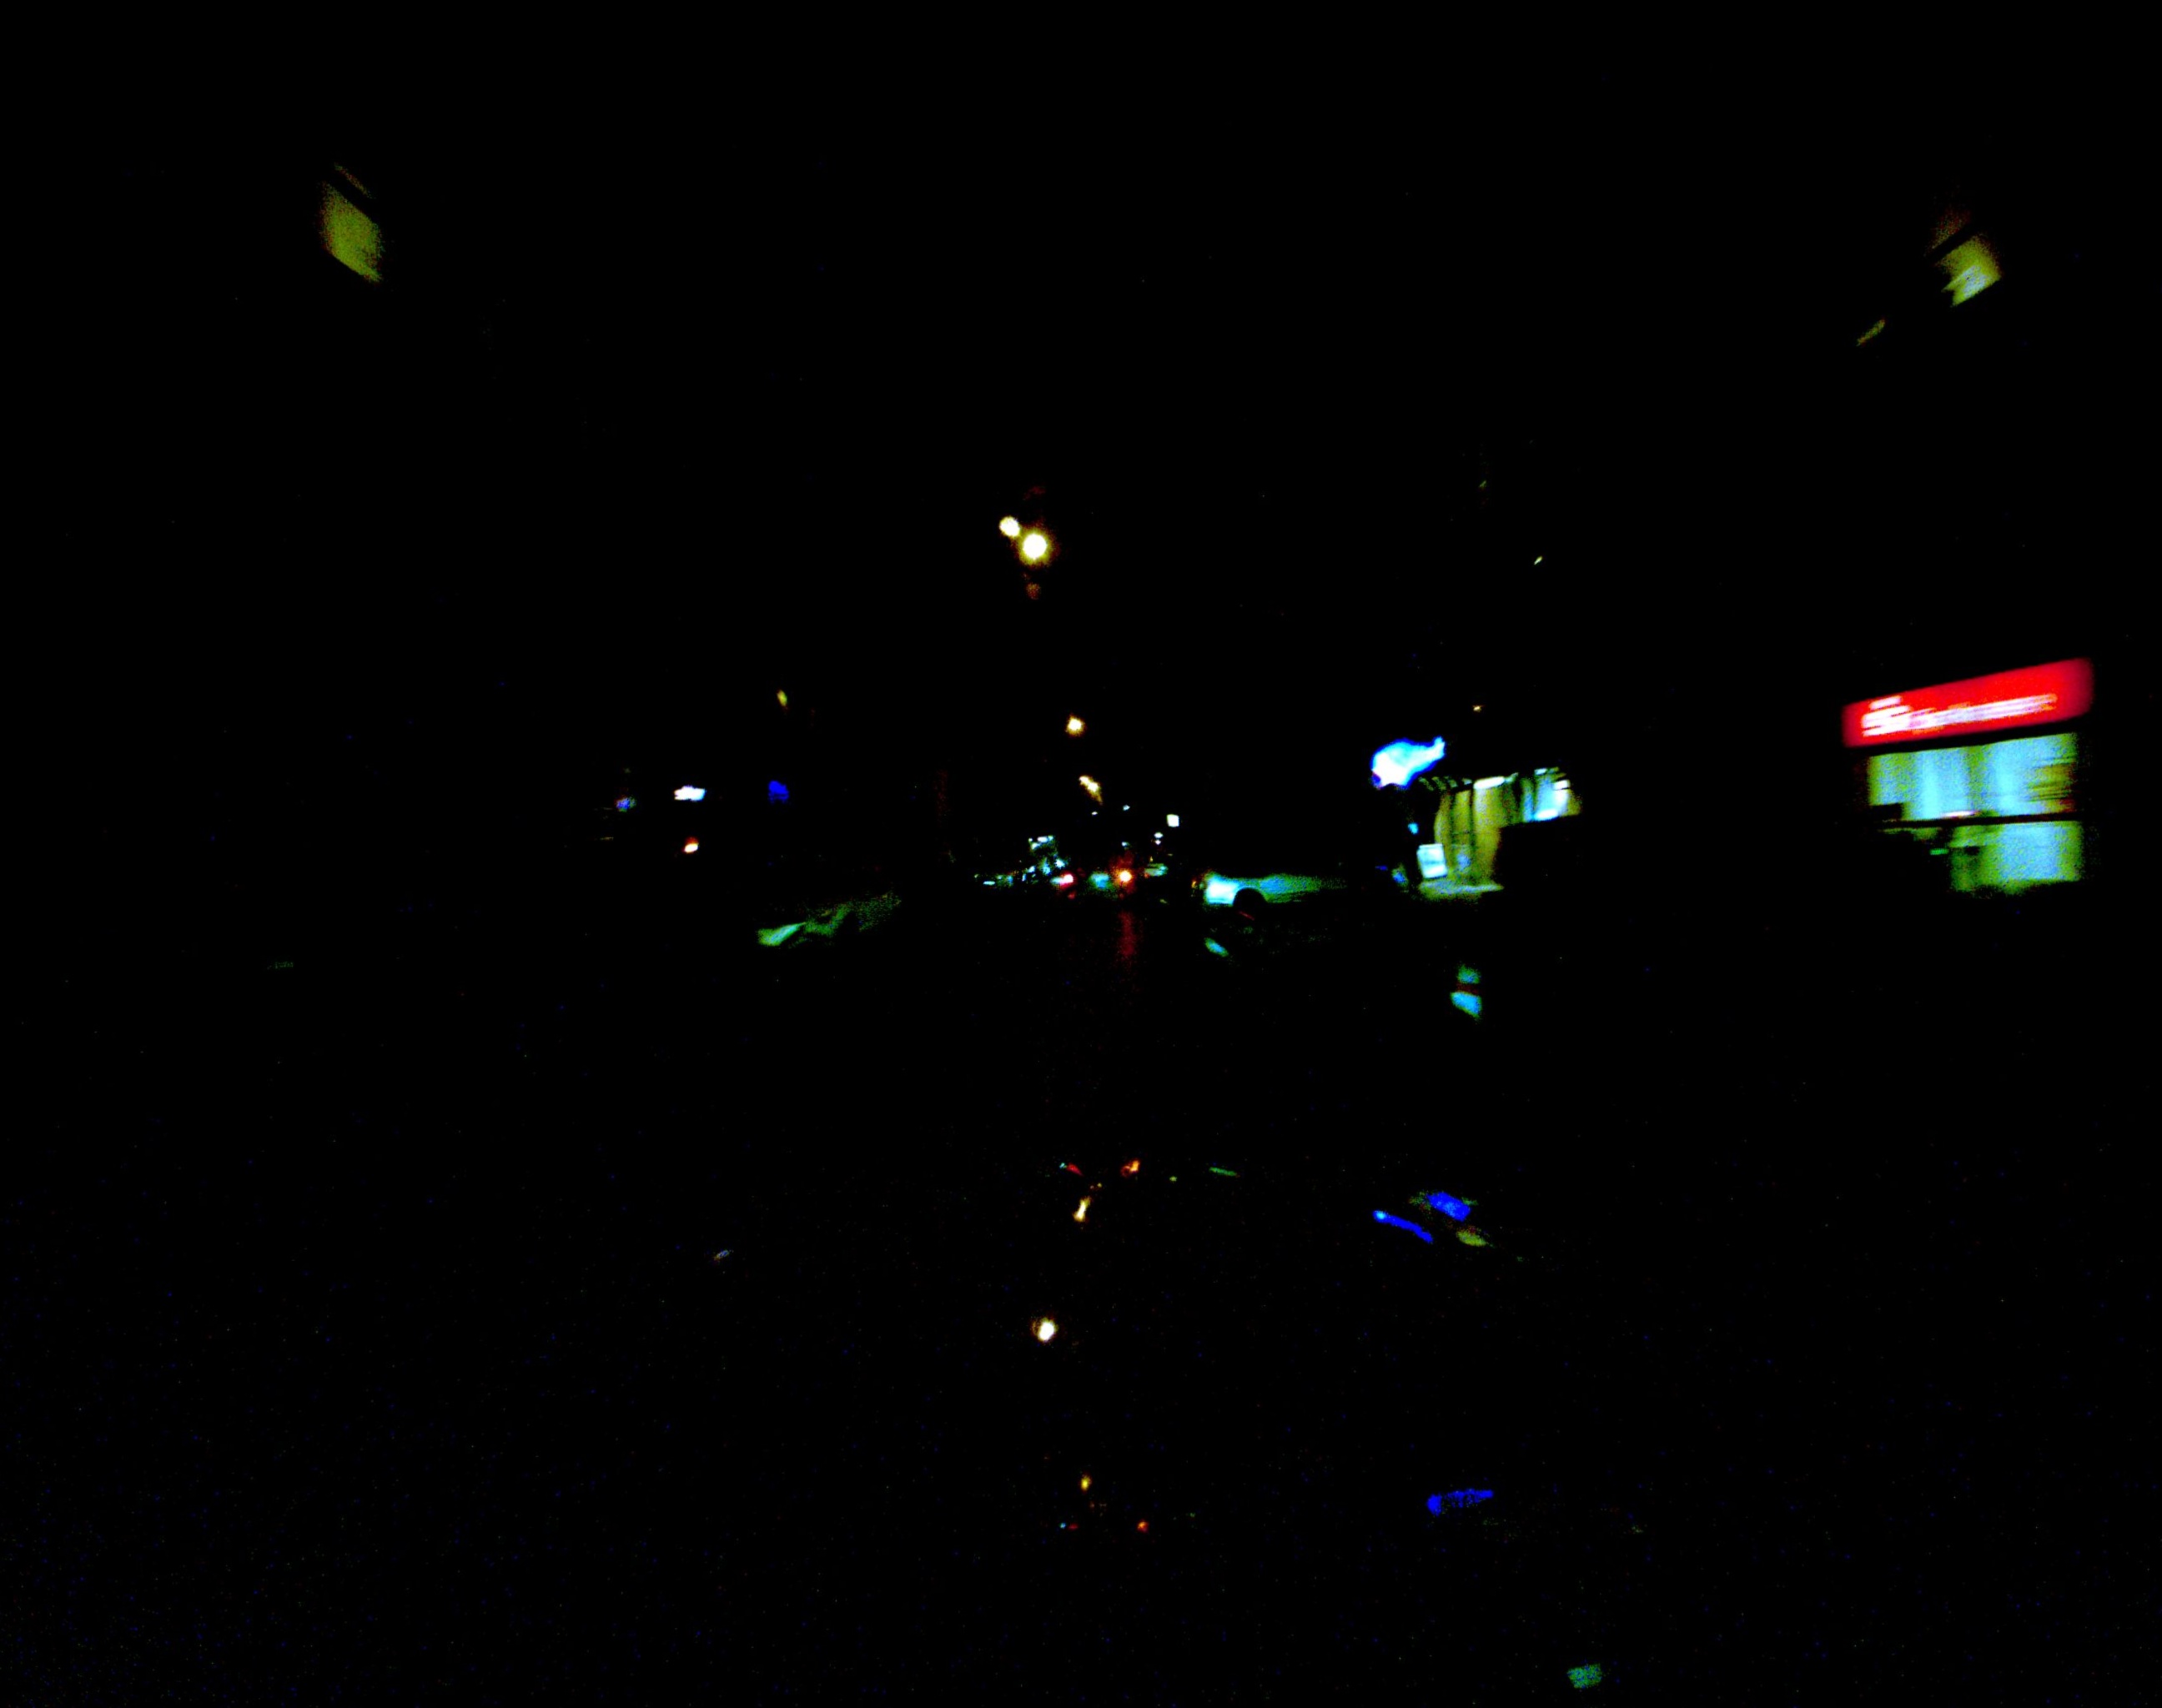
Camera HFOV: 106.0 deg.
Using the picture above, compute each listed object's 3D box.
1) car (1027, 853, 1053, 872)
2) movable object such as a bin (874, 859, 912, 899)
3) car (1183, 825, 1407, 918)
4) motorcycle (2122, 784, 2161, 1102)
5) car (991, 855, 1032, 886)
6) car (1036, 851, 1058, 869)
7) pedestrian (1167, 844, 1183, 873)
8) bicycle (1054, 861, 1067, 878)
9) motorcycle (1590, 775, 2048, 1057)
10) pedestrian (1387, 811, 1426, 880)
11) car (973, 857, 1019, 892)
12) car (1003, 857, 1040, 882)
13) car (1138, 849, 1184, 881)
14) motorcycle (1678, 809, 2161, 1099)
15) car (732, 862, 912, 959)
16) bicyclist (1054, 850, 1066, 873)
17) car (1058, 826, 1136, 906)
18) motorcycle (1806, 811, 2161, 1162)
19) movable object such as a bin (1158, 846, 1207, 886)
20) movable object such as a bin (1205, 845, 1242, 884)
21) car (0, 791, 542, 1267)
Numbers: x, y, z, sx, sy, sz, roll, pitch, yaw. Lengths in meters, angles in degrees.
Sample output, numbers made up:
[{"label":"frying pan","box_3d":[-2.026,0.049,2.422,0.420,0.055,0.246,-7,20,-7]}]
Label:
[{"label":"car","box_3d":[-3.498,0.691,70.816,1.826,1.486,4.596,-2,0,2]},{"label":"movable object such as a bin","box_3d":[-7.364,0.963,32.016,1.098,1.454,1.378,-3,0,-1]},{"label":"car","box_3d":[4.717,0.380,18.420,4.497,1.530,1.780,-6,0,0]},{"label":"motorcycle","box_3d":[4.971,0.400,2.540,2.165,1.547,0.867,-7,-1,1]},{"label":"car","box_3d":[-3.851,0.888,45.583,1.768,1.572,4.136,-3,0,1]},{"label":"car","box_3d":[-3.353,0.585,81.288,1.826,1.717,4.596,-2,0,2]},{"label":"pedestrian","box_3d":[5.958,0.269,51.592,0.858,1.788,1.084,-4,1,5]},{"label":"bicycle","box_3d":[-1.450,1.088,58.073,0.725,1.072,2.349,-3,0,1]},{"label":"motorcycle","box_3d":[5.084,0.405,5.750,2.280,1.588,0.867,-7,-1,1]},{"label":"pedestrian","box_3d":[8.806,-0.233,22.036,0.699,1.788,0.625,-4,1,4]},{"label":"car","box_3d":[-3.997,0.932,38.696,1.666,1.491,3.723,-1,0,1]},{"label":"car","box_3d":[-3.699,0.927,51.026,1.815,1.389,4.427,-3,0,1]},{"label":"car","box_3d":[3.973,0.524,41.084,1.986,1.464,4.418,-3,0,1]},{"label":"motorcycle","box_3d":[4.990,0.534,4.808,2.165,1.318,0.867,-7,-1,1]},{"label":"car","box_3d":[-4.736,0.953,15.734,1.760,1.483,4.775,1,0,2]},{"label":"bicyclist","box_3d":[-1.487,0.521,58.097,0.716,1.556,0.895,-3,0,1]},{"label":"car","box_3d":[0.518,0.312,24.002,1.988,2.049,4.696,-2,0,2]},{"label":"motorcycle","box_3d":[4.988,0.521,3.875,2.165,1.318,0.867,-7,-1,1]},{"label":"movable object such as a bin","box_3d":[3.832,0.472,30.872,1.347,1.429,1.188,-3,0,-35]},{"label":"movable object such as a bin","box_3d":[5.453,0.386,31.153,1.300,1.429,1.053,-3,0,11]},{"label":"car","box_3d":[-5.155,0.708,3.501,1.988,1.829,5.209,-2,0,2]}]
